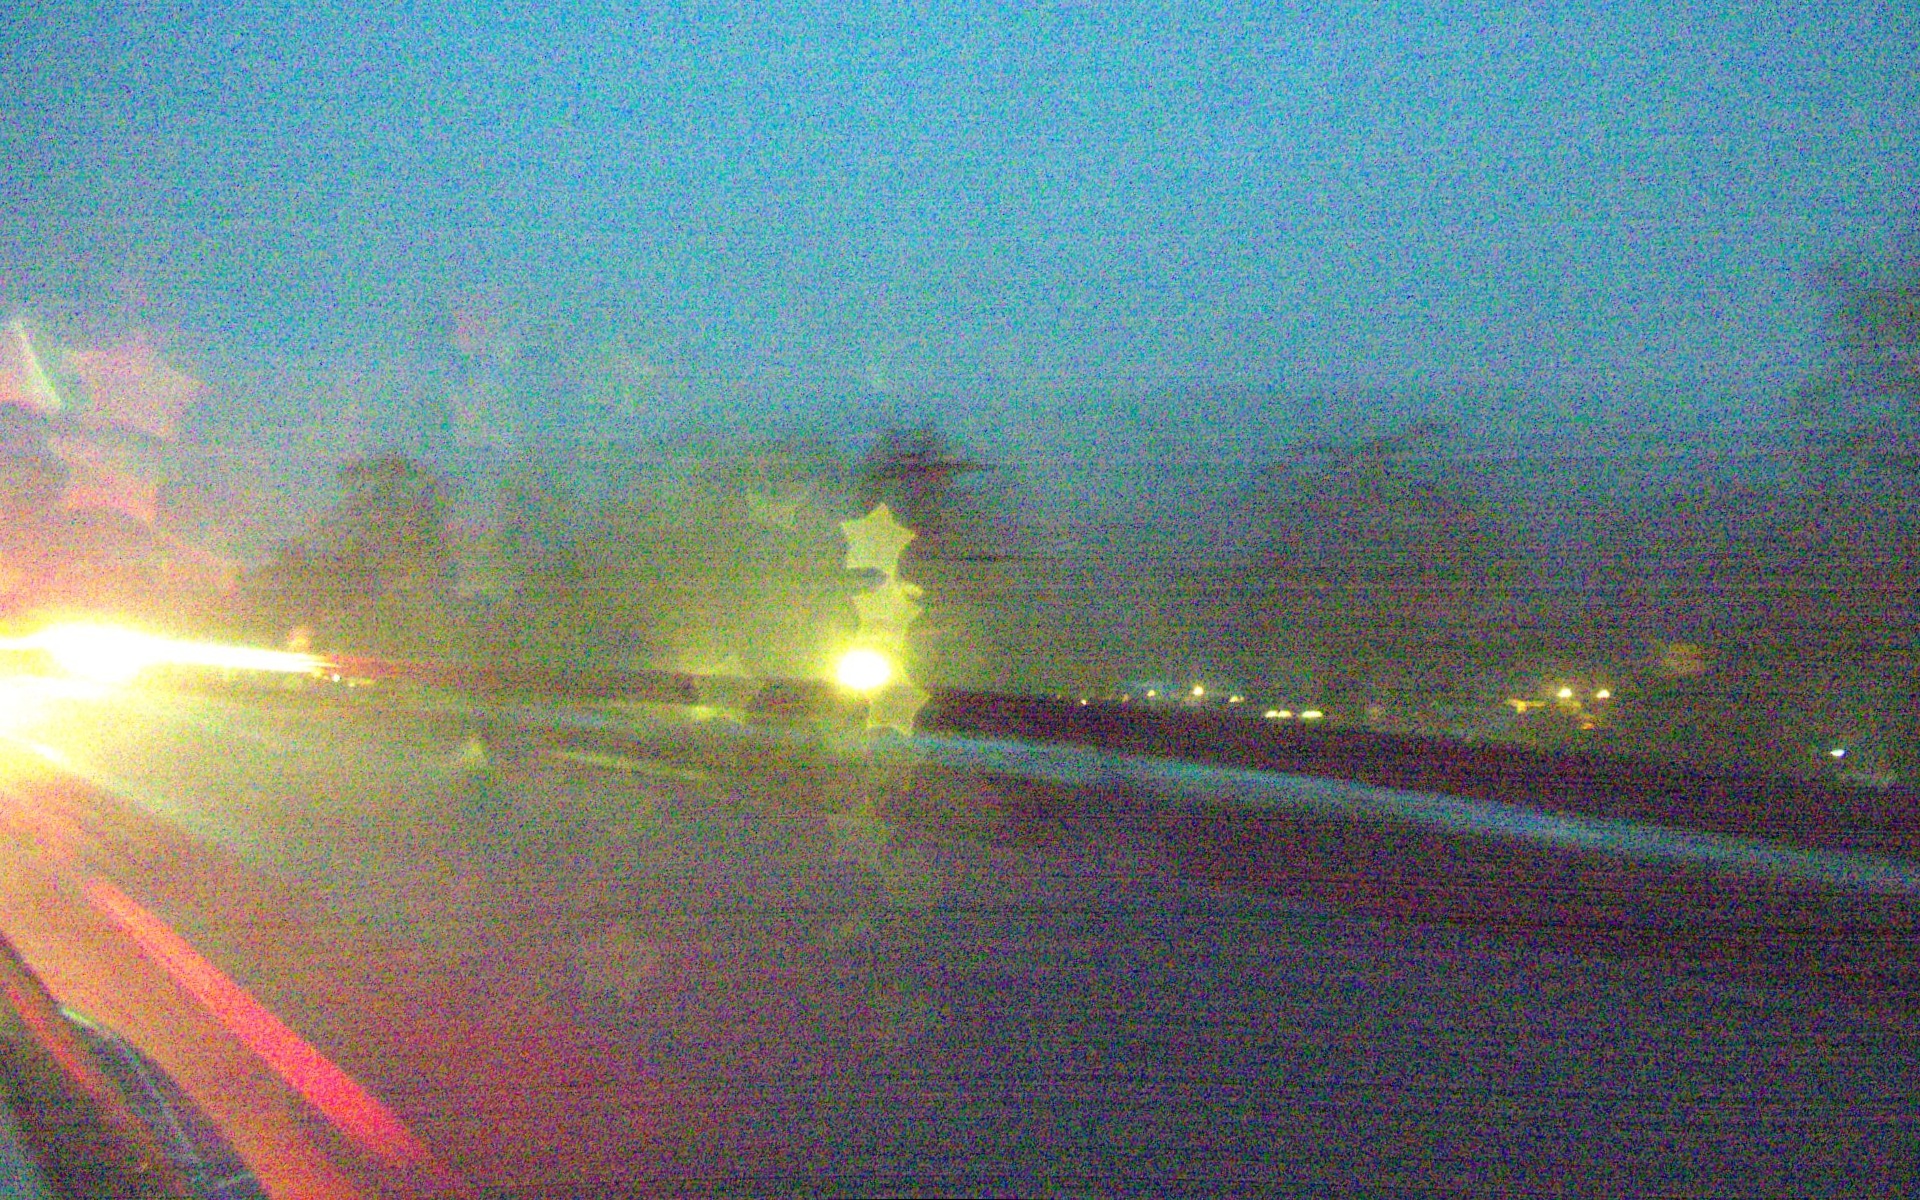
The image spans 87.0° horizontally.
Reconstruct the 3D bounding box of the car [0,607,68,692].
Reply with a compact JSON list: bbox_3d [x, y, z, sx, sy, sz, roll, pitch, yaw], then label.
[{"bbox_3d":[-21.134,1.066,22.179,4.469,1.679,1.763,-2,1,41],"label":"car"}]
